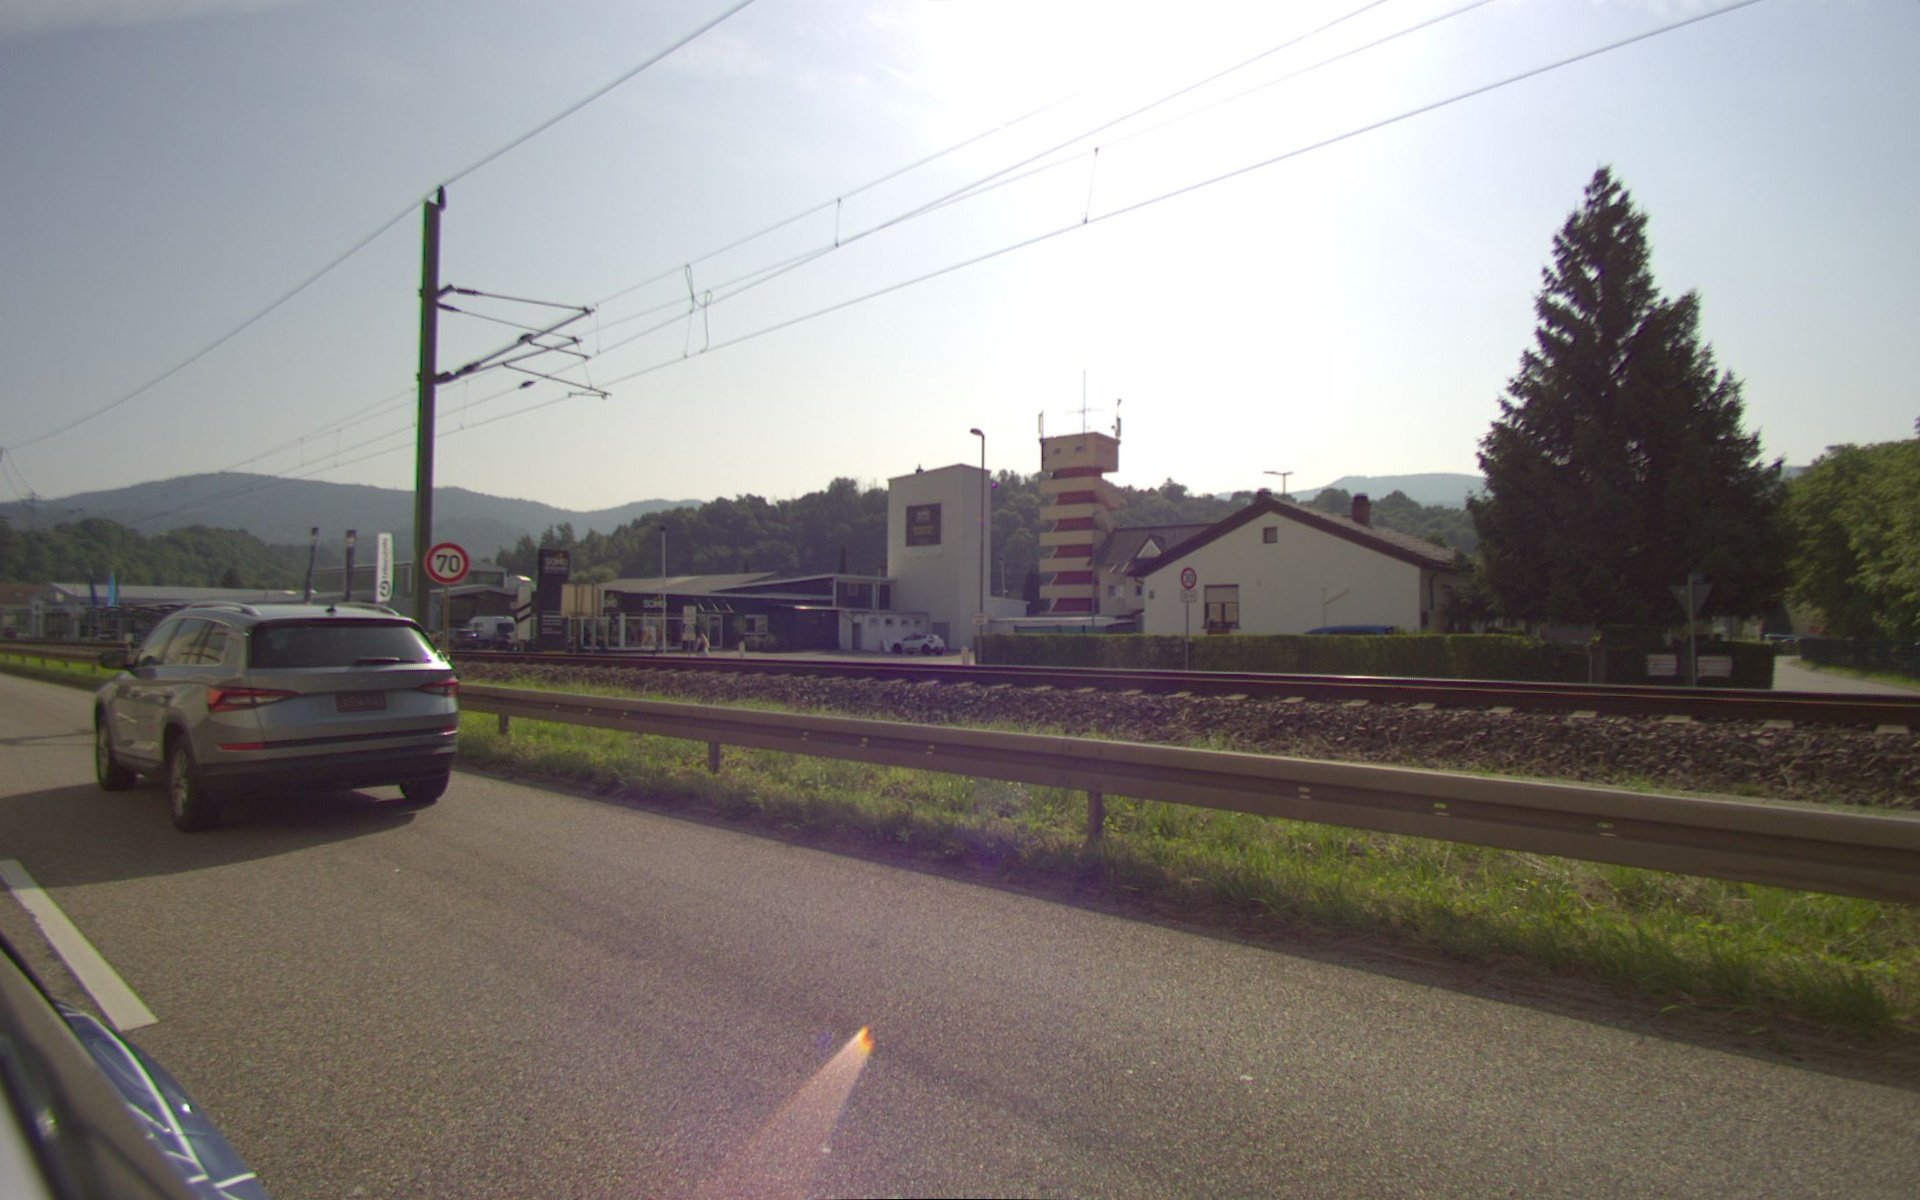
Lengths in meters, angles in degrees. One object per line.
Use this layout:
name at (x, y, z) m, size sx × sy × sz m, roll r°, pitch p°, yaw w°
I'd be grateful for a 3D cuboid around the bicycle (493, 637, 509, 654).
bicycle at (-30.742, 3.055, 67.784) m, size 0.717 × 1.139 × 2.329 m, roll 1°, pitch -2°, yaw -18°

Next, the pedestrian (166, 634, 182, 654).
pedestrian at (-69.118, 3.861, 88.998) m, size 0.821 × 1.748 × 0.806 m, roll 1°, pitch -4°, yaw -14°

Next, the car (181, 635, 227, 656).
car at (-67.390, 4.003, 90.287) m, size 1.636 × 1.634 × 4.041 m, roll -2°, pitch 0°, yaw -11°

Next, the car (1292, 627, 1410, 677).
car at (11.172, 1.468, 28.987) m, size 2.890 × 1.362 × 1.377 m, roll -1°, pitch -3°, yaw 38°

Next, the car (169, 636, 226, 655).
car at (-70.298, 4.152, 93.346) m, size 1.659 × 1.539 × 3.923 m, roll -2°, pitch 0°, yaw 35°

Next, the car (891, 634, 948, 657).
car at (-2.909, 3.207, 71.845) m, size 3.978 × 1.610 × 1.693 m, roll -2°, pitch -3°, yaw 40°

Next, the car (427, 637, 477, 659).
car at (-40.176, 3.769, 80.069) m, size 3.991 × 1.676 × 1.851 m, roll 0°, pitch -2°, yaw 35°

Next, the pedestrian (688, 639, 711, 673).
pedestrian at (-10.502, 2.239, 40.814) m, size 0.672 × 1.342 × 0.569 m, roll -2°, pitch -3°, yaw 33°

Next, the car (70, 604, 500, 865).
car at (-5.827, 0.884, 8.492) m, size 4.568 × 1.612 × 1.886 m, roll -1°, pitch -2°, yaw 41°

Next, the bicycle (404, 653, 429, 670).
bicycle at (-29.610, 3.335, 55.118) m, size 1.707 × 0.930 × 0.540 m, roll -2°, pitch -3°, yaw 37°

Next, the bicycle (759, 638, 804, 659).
bicycle at (-12.221, 3.331, 69.576) m, size 0.987 × 1.298 × 3.406 m, roll -1°, pitch -1°, yaw 34°

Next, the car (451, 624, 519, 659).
car at (-39.123, 3.375, 83.310) m, size 6.148 × 2.653 × 2.352 m, roll 0°, pitch -2°, yaw 36°

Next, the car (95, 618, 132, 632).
car at (-90.130, 2.675, 107.832) m, size 1.815 × 1.396 × 4.538 m, roll 1°, pitch -2°, yaw -24°

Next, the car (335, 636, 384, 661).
car at (-44.565, 3.568, 75.092) m, size 4.360 × 1.701 × 1.505 m, roll -1°, pitch -1°, yaw 35°

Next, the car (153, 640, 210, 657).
car at (-72.094, 4.469, 93.786) m, size 1.498 × 1.335 × 3.923 m, roll -2°, pitch 0°, yaw 35°

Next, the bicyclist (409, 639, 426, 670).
bicyclist at (-29.524, 2.964, 55.071) m, size 0.830 × 1.659 × 0.527 m, roll -2°, pitch -3°, yaw 37°

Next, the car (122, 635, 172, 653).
car at (-81.250, 4.413, 101.219) m, size 1.819 × 1.539 × 4.275 m, roll -2°, pitch 0°, yaw -4°
